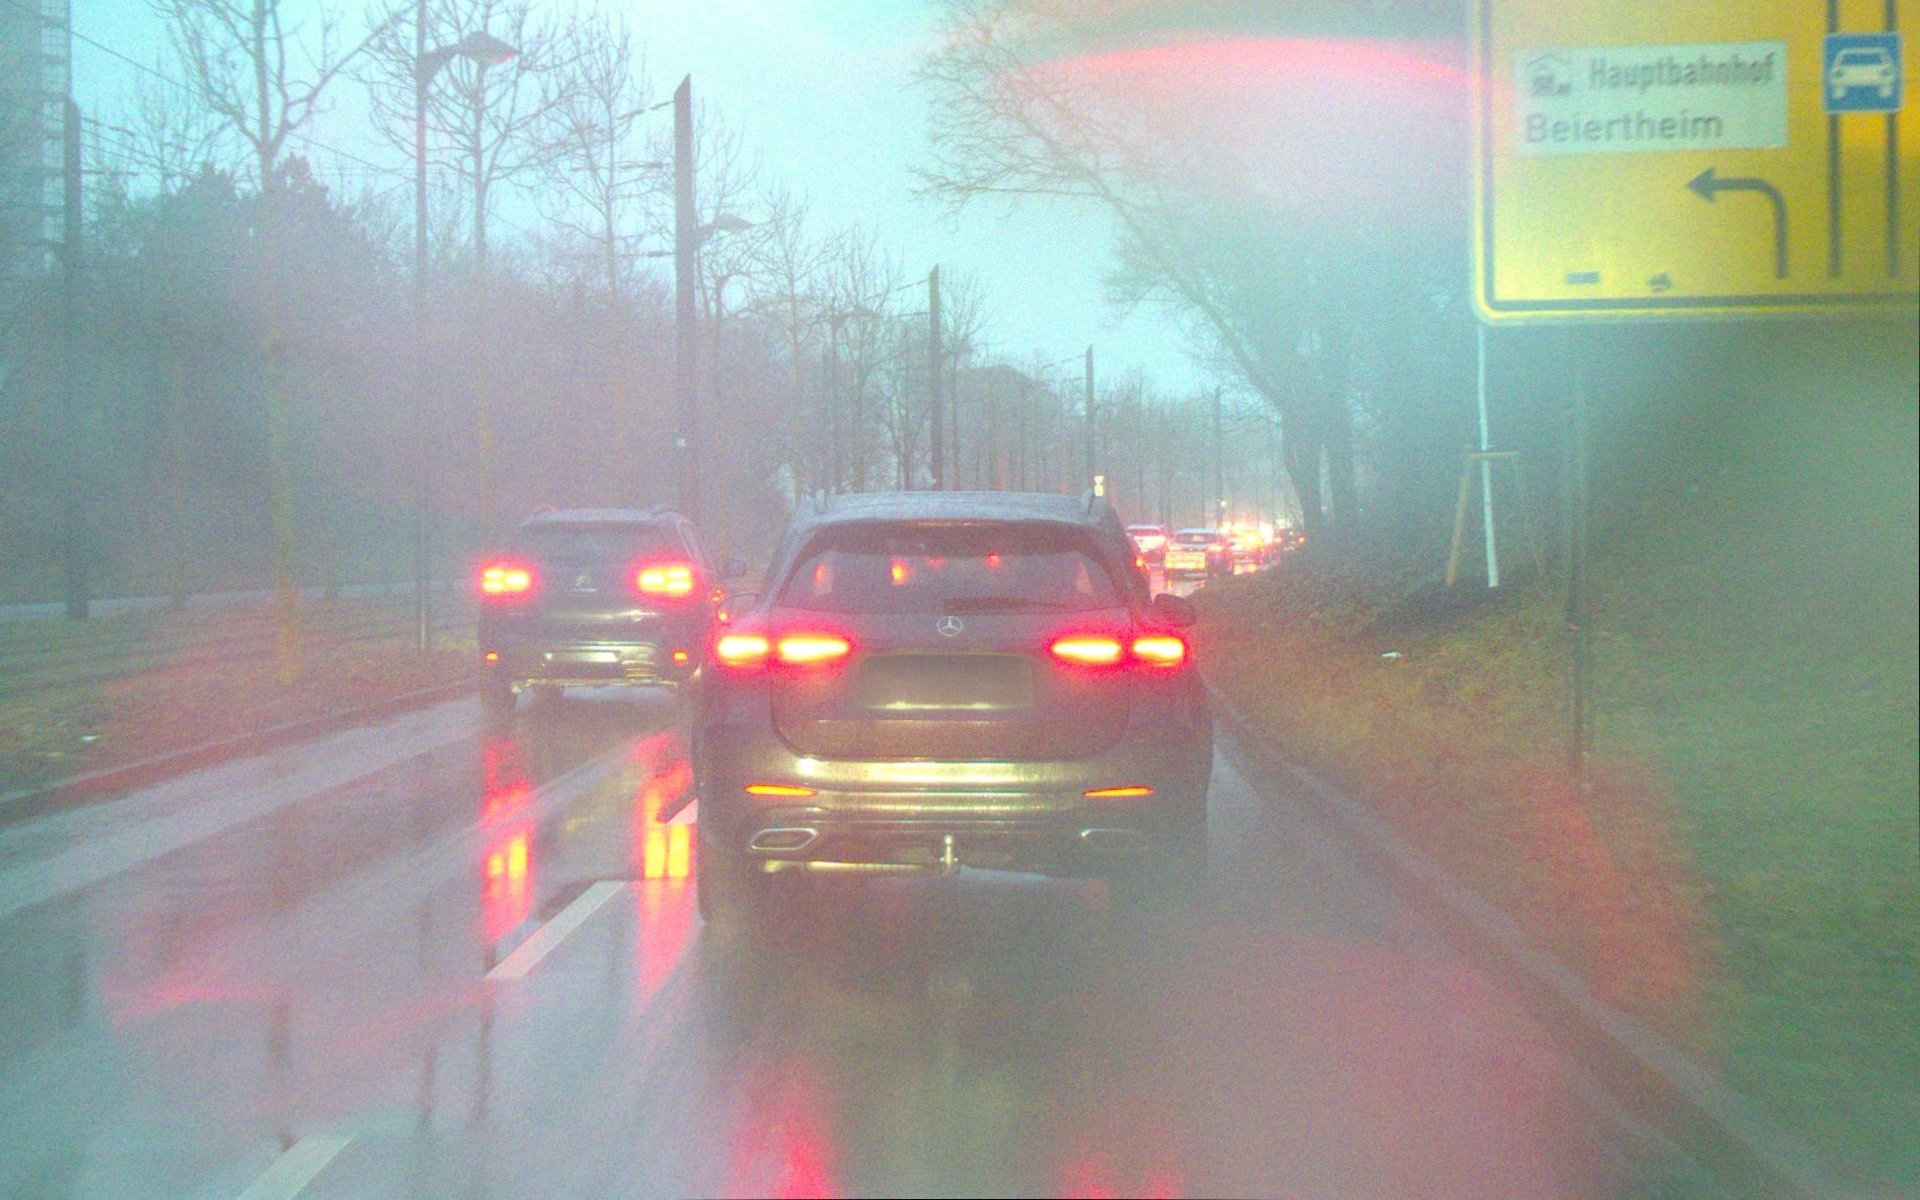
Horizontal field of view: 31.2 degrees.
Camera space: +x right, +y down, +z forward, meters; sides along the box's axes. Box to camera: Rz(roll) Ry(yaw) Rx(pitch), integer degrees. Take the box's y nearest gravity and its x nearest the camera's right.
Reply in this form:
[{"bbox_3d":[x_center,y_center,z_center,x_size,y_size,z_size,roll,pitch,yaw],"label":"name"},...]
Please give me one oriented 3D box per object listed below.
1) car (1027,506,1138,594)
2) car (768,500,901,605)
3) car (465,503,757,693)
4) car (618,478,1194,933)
[{"bbox_3d":[2.287,-0.928,63.103,1.709,1.552,3.995,0,1,7],"label":"car"},{"bbox_3d":[-1.966,-0.785,54.942,1.880,1.588,4.000,-1,2,1],"label":"car"},{"bbox_3d":[-2.868,-0.071,29.067,1.880,1.454,4.000,-1,2,3],"label":"car"},{"bbox_3d":[-0.189,0.309,13.953,1.998,1.578,4.000,0,2,0],"label":"car"}]
